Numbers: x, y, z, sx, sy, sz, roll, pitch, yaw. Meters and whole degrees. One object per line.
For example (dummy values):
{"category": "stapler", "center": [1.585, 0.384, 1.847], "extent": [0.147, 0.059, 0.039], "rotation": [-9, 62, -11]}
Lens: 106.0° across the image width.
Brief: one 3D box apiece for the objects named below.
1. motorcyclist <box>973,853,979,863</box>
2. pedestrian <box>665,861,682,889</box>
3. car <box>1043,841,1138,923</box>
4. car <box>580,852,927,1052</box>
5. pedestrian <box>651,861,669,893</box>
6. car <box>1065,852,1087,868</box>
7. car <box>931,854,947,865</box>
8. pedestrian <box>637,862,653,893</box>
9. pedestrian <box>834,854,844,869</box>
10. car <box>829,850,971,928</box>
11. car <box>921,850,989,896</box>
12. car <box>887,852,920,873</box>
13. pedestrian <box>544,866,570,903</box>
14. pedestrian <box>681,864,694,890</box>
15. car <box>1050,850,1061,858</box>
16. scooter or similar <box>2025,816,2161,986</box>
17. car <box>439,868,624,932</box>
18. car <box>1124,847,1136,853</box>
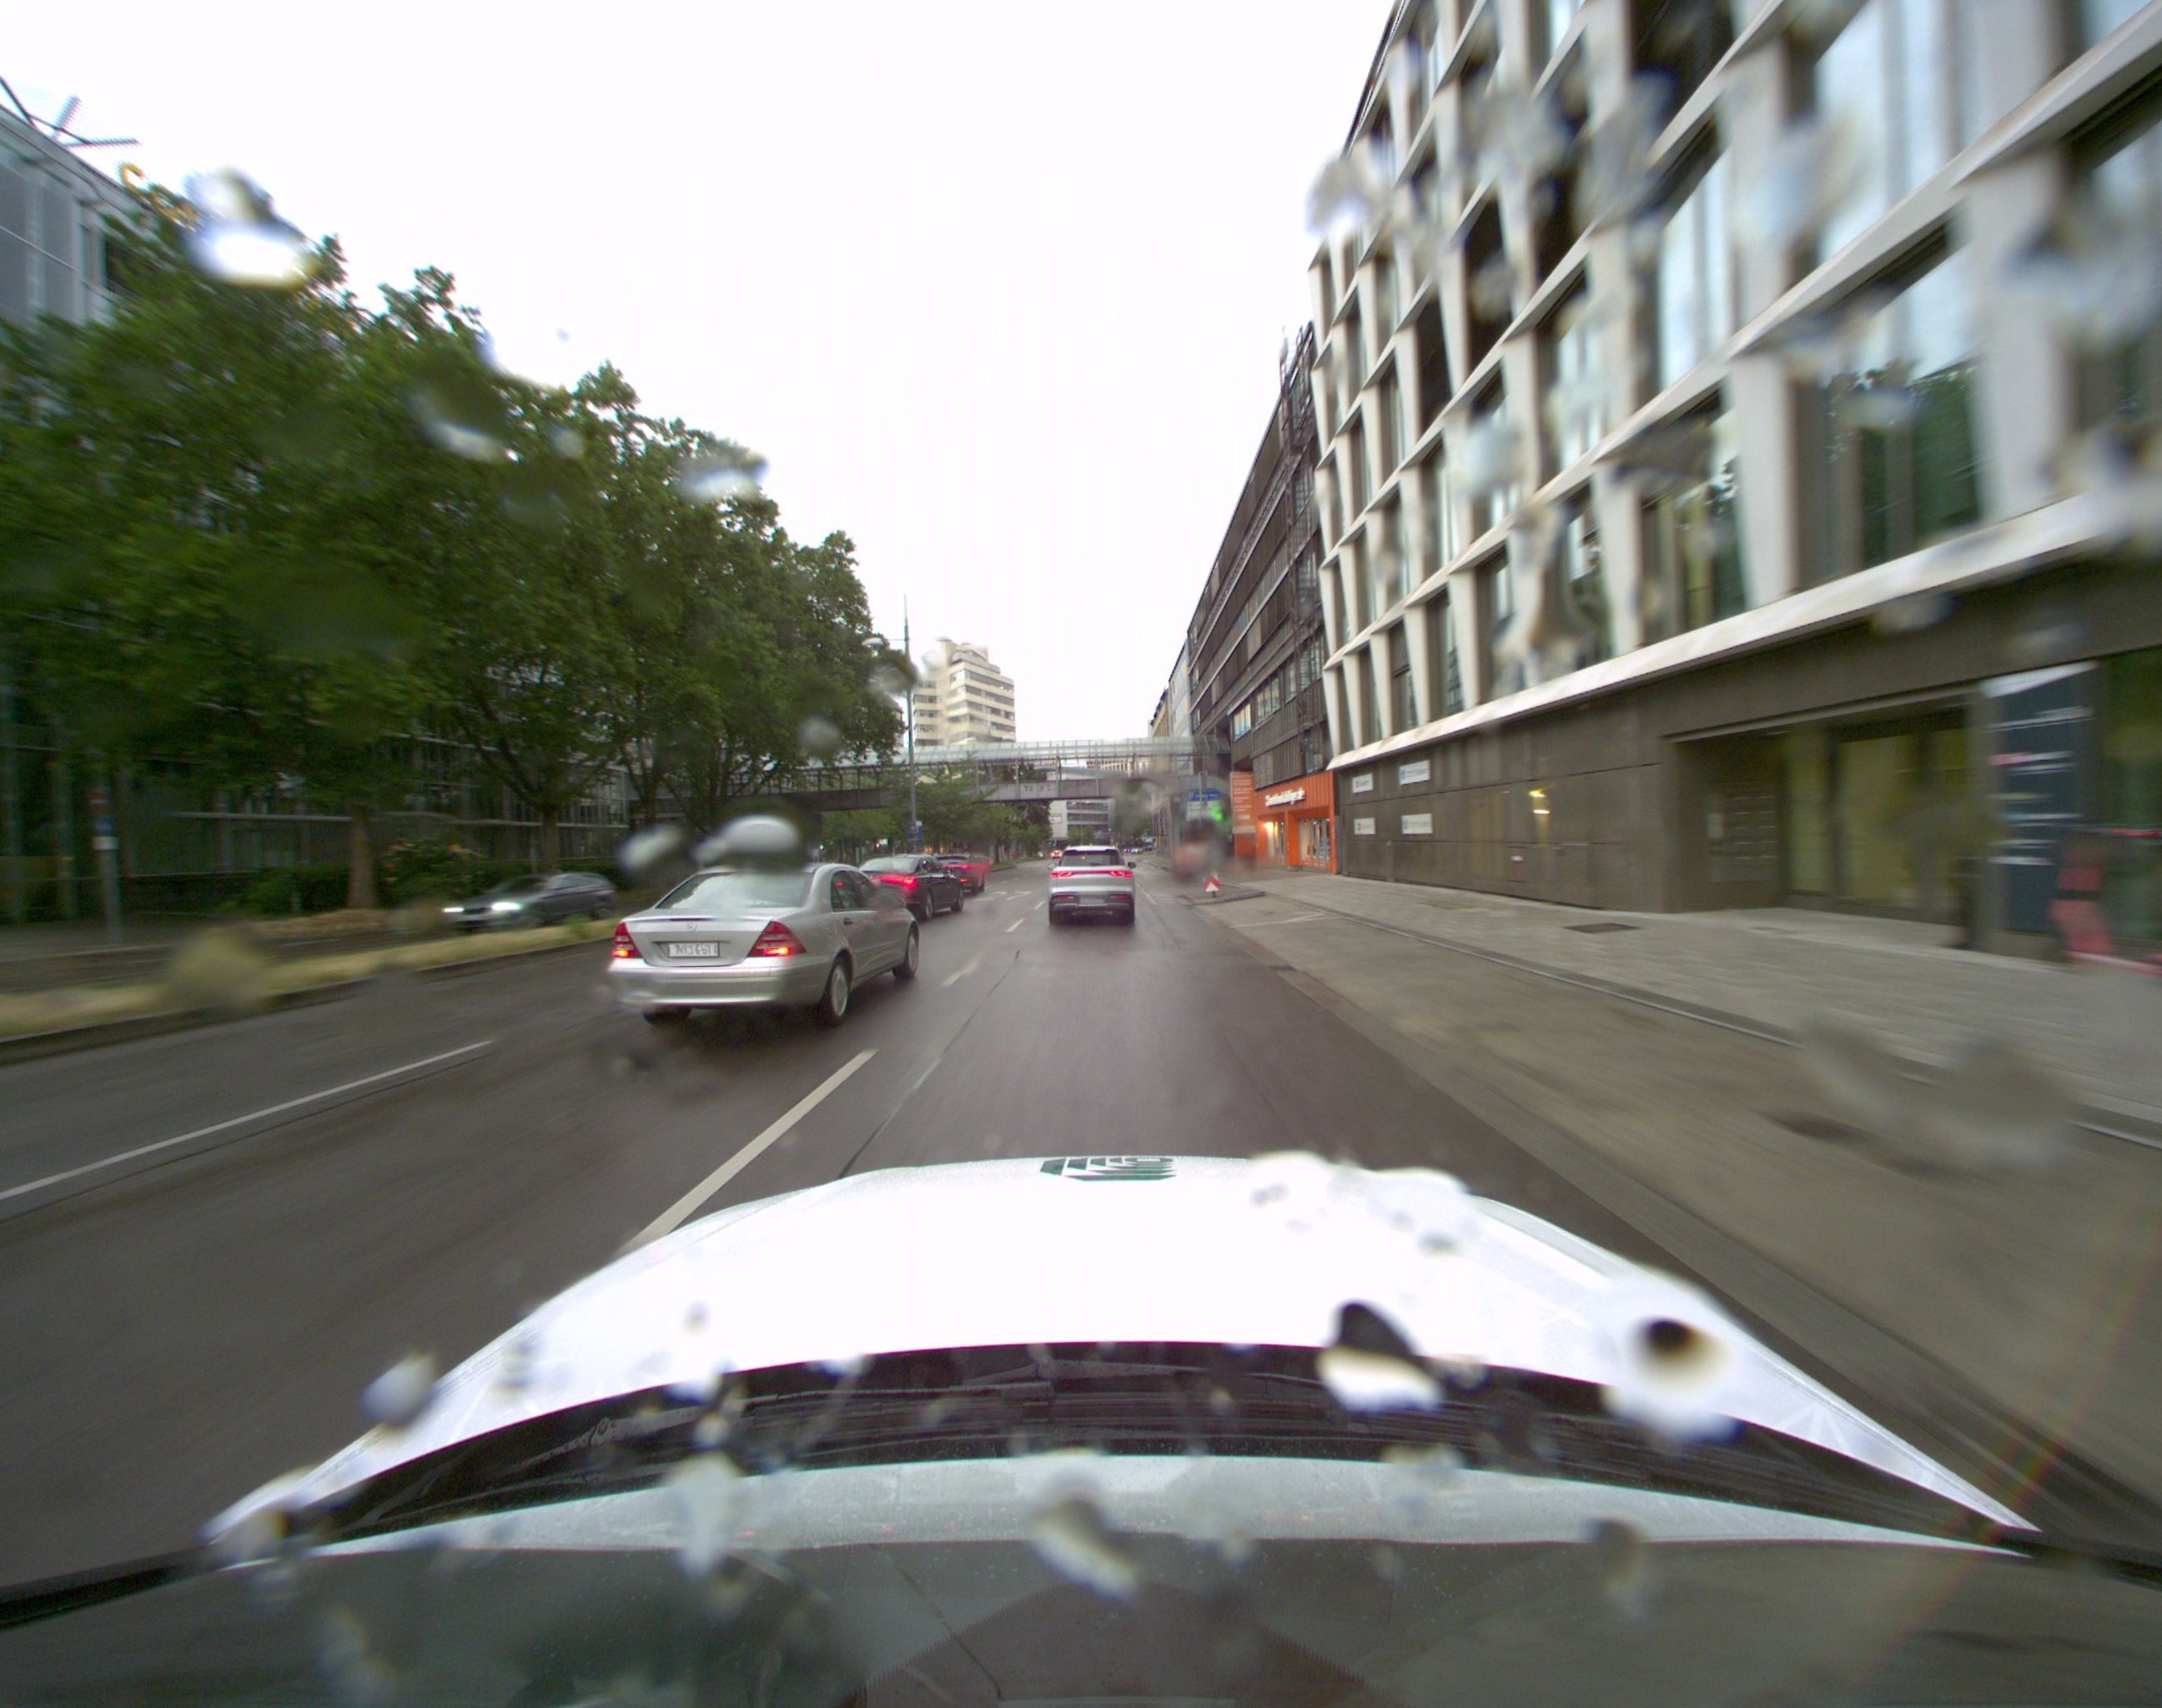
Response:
{"category": "motorcyclist", "center": [-15.721, 0.597, 122.085], "extent": [0.635, 1.418, 0.970], "rotation": [-2, -1, 2]}
{"category": "pedestrian", "center": [-27.099, 1.391, 54.130], "extent": [0.720, 1.807, 0.618], "rotation": [-2, 0, 1]}
{"category": "car", "center": [0.243, 0.568, 18.205], "extent": [1.894, 1.621, 4.001], "rotation": [0, 0, 1]}
{"category": "car", "center": [-2.888, 0.766, 8.330], "extent": [1.666, 1.479, 4.361], "rotation": [-1, -1, 1]}
{"category": "pedestrian", "center": [-24.902, 1.357, 48.174], "extent": [0.594, 1.807, 0.760], "rotation": [-2, 0, 1]}
{"category": "car", "center": [-0.520, 0.622, 85.060], "extent": [1.803, 1.578, 4.006], "rotation": [-1, 0, 5]}
{"category": "car", "center": [-20.980, 0.764, 120.068], "extent": [1.618, 1.611, 4.231], "rotation": [-1, 0, 0]}
{"category": "pedestrian", "center": [-25.745, 1.390, 48.069], "extent": [0.603, 1.807, 0.511], "rotation": [-2, 0, 1]}
{"category": "pedestrian", "center": [-28.619, 0.851, 96.282], "extent": [0.740, 1.715, 1.057], "rotation": [-2, 0, 1]}
{"category": "car", "center": [-4.040, 0.702, 19.118], "extent": [1.864, 1.479, 4.883], "rotation": [-2, 1, 4]}
{"category": "car", "center": [-4.461, 0.662, 29.339], "extent": [1.768, 1.457, 3.999], "rotation": [-2, -1, 0]}
{"category": "car", "center": [-14.108, 0.652, 65.050], "extent": [1.657, 1.464, 4.080], "rotation": [-4, 0, 0]}
{"category": "pedestrian", "center": [-26.380, 1.531, 41.010], "extent": [0.732, 1.807, 0.803], "rotation": [-2, 0, 1]}
{"category": "pedestrian", "center": [-26.224, 1.507, 54.213], "extent": [0.557, 1.686, 0.511], "rotation": [-2, 0, 1]}
{"category": "car", "center": [-4.430, -0.042, 141.683], "extent": [1.646, 1.342, 4.003], "rotation": [-1, 0, 3]}
{"category": "scooter or similar", "center": [8.147, 0.335, 6.309], "extent": [0.409, 1.236, 1.192], "rotation": [-2, 0, 10]}
{"category": "car", "center": [-14.716, 1.160, 22.207], "extent": [1.684, 1.438, 4.760], "rotation": [-2, -1, 2]}
{"category": "car", "center": [13.359, -1.093, 221.791], "extent": [1.565, 1.538, 4.025], "rotation": [-1, 0, 32]}
